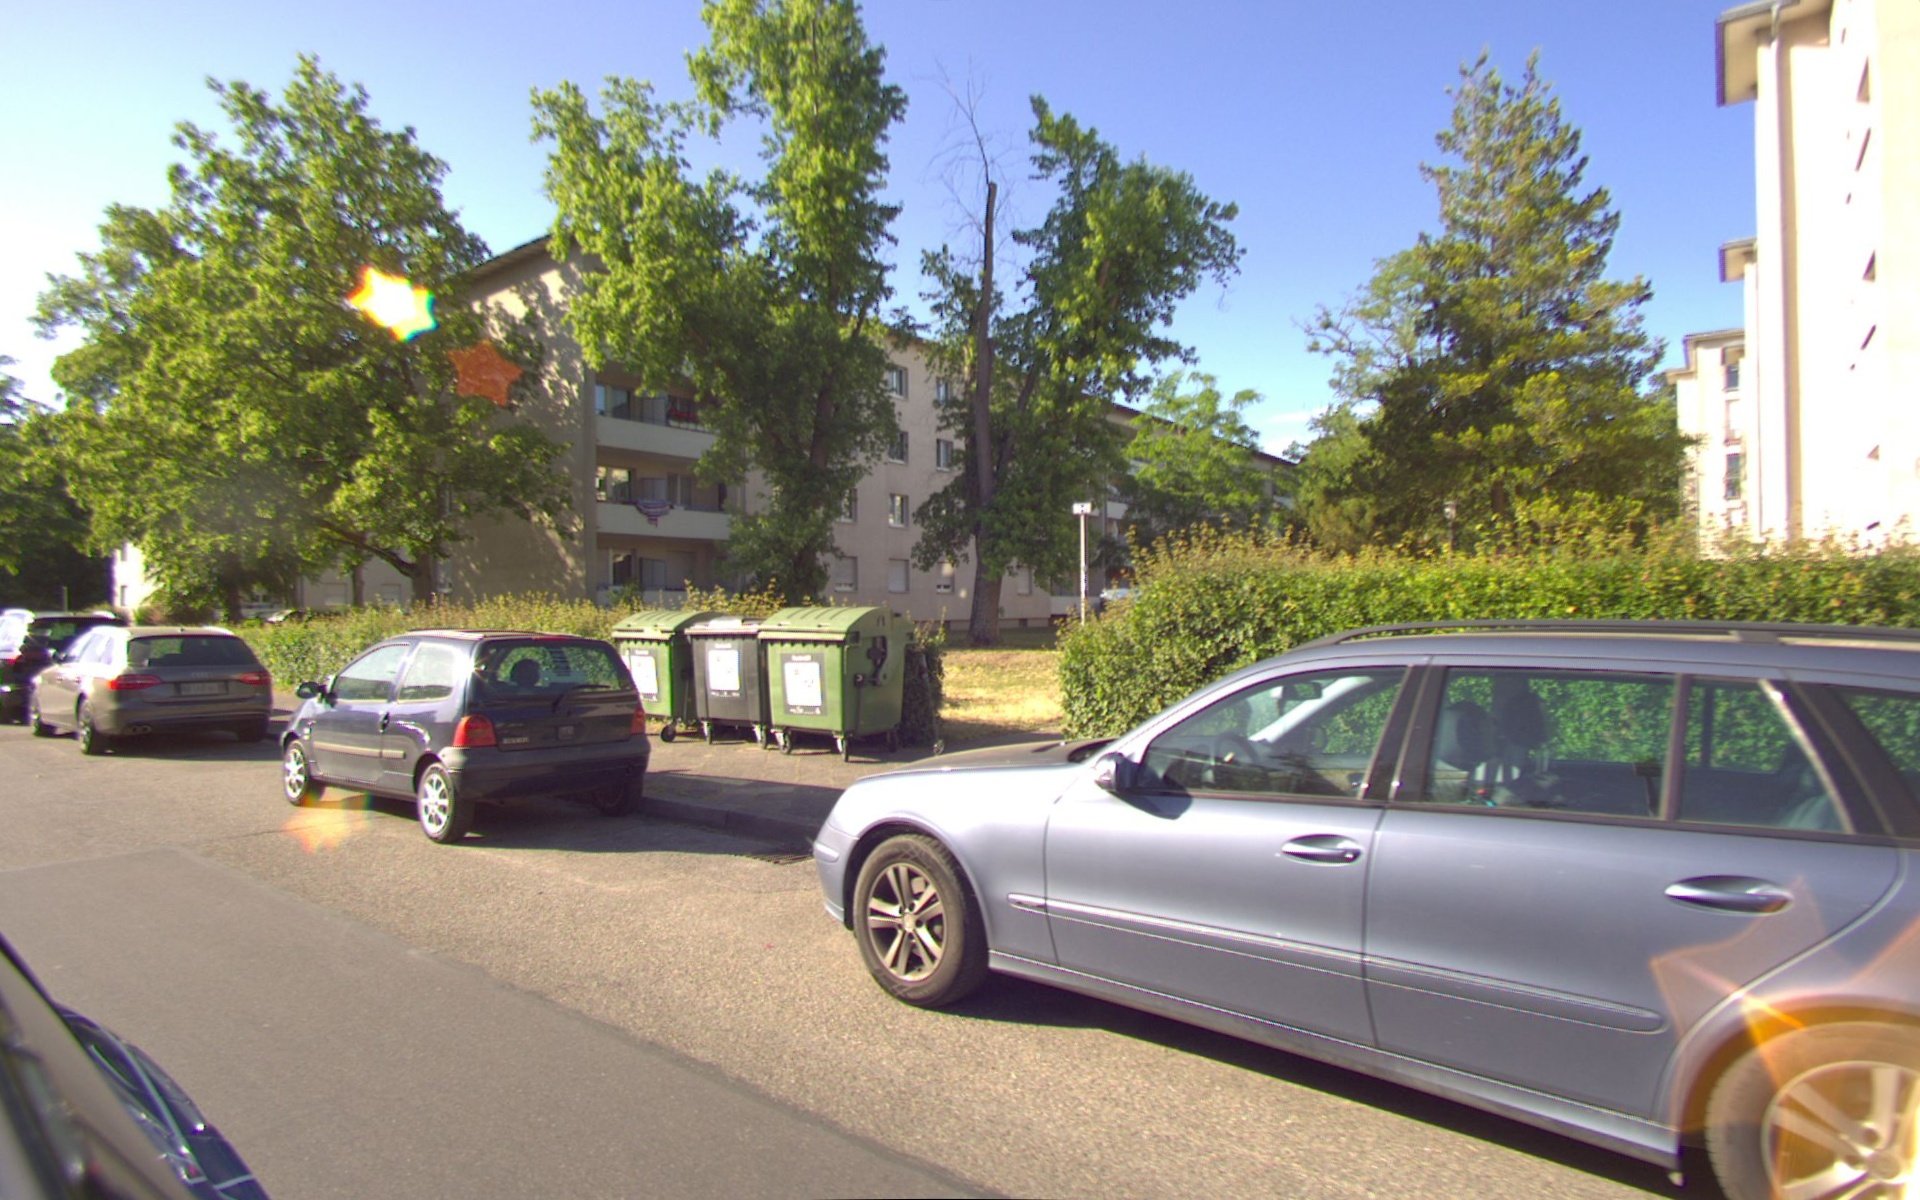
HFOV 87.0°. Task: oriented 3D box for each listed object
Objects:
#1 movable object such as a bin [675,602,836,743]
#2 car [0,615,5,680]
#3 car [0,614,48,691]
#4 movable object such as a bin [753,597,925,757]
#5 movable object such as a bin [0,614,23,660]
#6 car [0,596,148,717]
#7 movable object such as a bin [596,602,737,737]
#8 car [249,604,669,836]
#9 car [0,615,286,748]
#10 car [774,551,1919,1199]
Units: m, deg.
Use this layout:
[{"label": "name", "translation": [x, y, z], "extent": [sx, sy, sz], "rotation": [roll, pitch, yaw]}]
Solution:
[{"label": "movable object such as a bin", "translation": [-2.210, 0.742, 10.966], "extent": [1.255, 1.376, 1.109], "rotation": [-2, 1, 36]}, {"label": "car", "translation": [-23.516, 1.085, 23.134], "extent": [4.143, 1.448, 1.738], "rotation": [-2, -3, 37]}, {"label": "car", "translation": [-19.140, 0.994, 19.311], "extent": [4.160, 1.396, 1.624], "rotation": [-2, -3, 34]}, {"label": "movable object such as a bin", "translation": [-1.198, 0.714, 10.031], "extent": [1.324, 1.425, 0.993], "rotation": [-2, 1, 36]}, {"label": "movable object such as a bin", "translation": [-30.909, 1.197, 32.495], "extent": [1.261, 1.425, 0.887], "rotation": [-2, 1, 33]}, {"label": "car", "translation": [-14.627, 0.858, 16.003], "extent": [4.382, 1.681, 1.738], "rotation": [-2, -3, 37]}, {"label": "movable object such as a bin", "translation": [-3.375, 0.763, 11.647], "extent": [1.324, 1.425, 0.887], "rotation": [-2, 1, 36]}, {"label": "car", "translation": [-4.116, 0.829, 8.168], "extent": [3.489, 1.475, 1.633], "rotation": [-2, -3, 37]}, {"label": "car", "translation": [-10.446, 0.914, 12.789], "extent": [4.666, 1.396, 1.738], "rotation": [-1, -2, 37]}, {"label": "car", "translation": [1.657, 0.712, 3.412], "extent": [4.896, 1.501, 1.736], "rotation": [-1, -4, 40]}]
